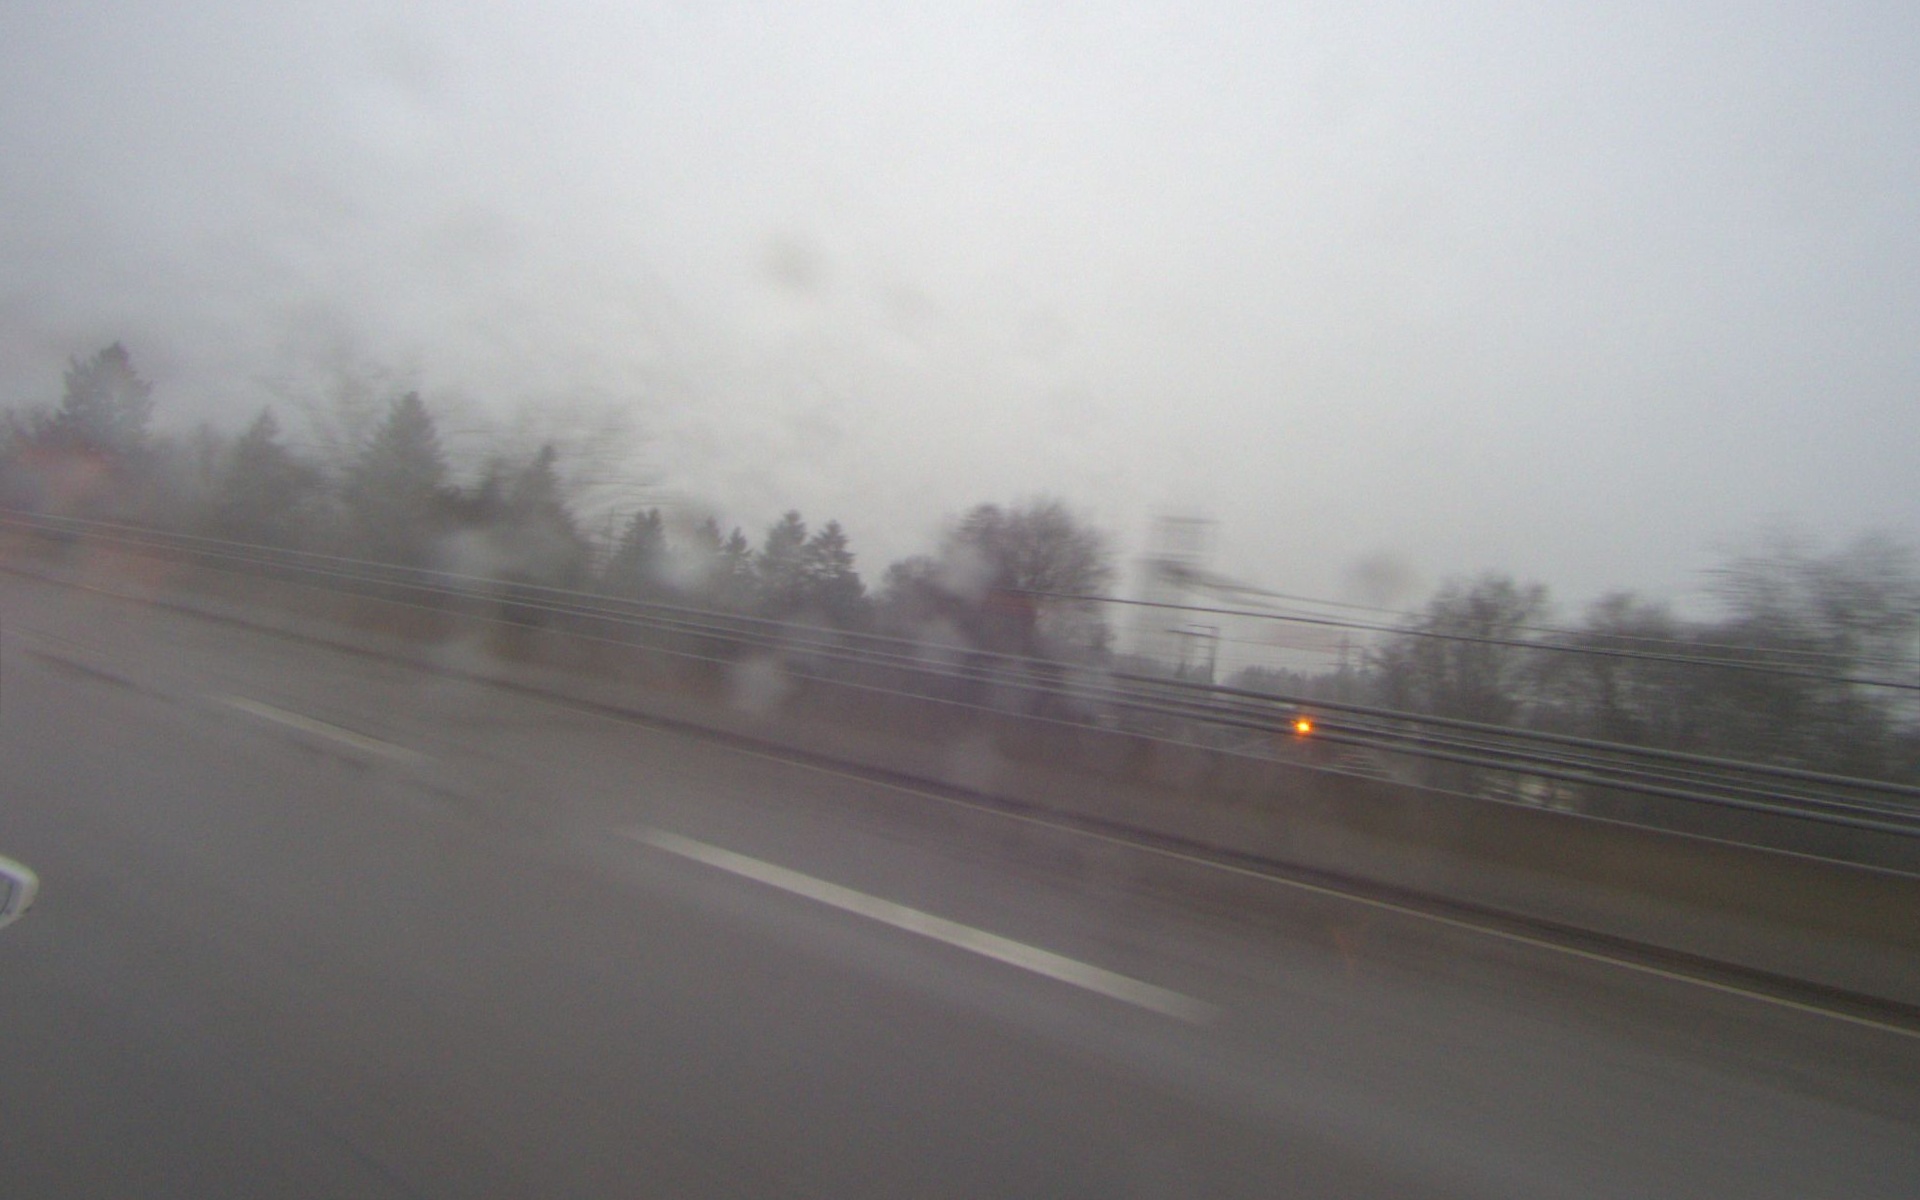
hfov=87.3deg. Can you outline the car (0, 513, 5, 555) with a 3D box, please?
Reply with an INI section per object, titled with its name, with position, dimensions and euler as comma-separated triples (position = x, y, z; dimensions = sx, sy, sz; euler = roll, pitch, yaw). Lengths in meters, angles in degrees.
[car]
position = -12.719, -0.531, 11.269
dimensions = 4.079, 1.471, 1.849
euler = 8, -1, 31
